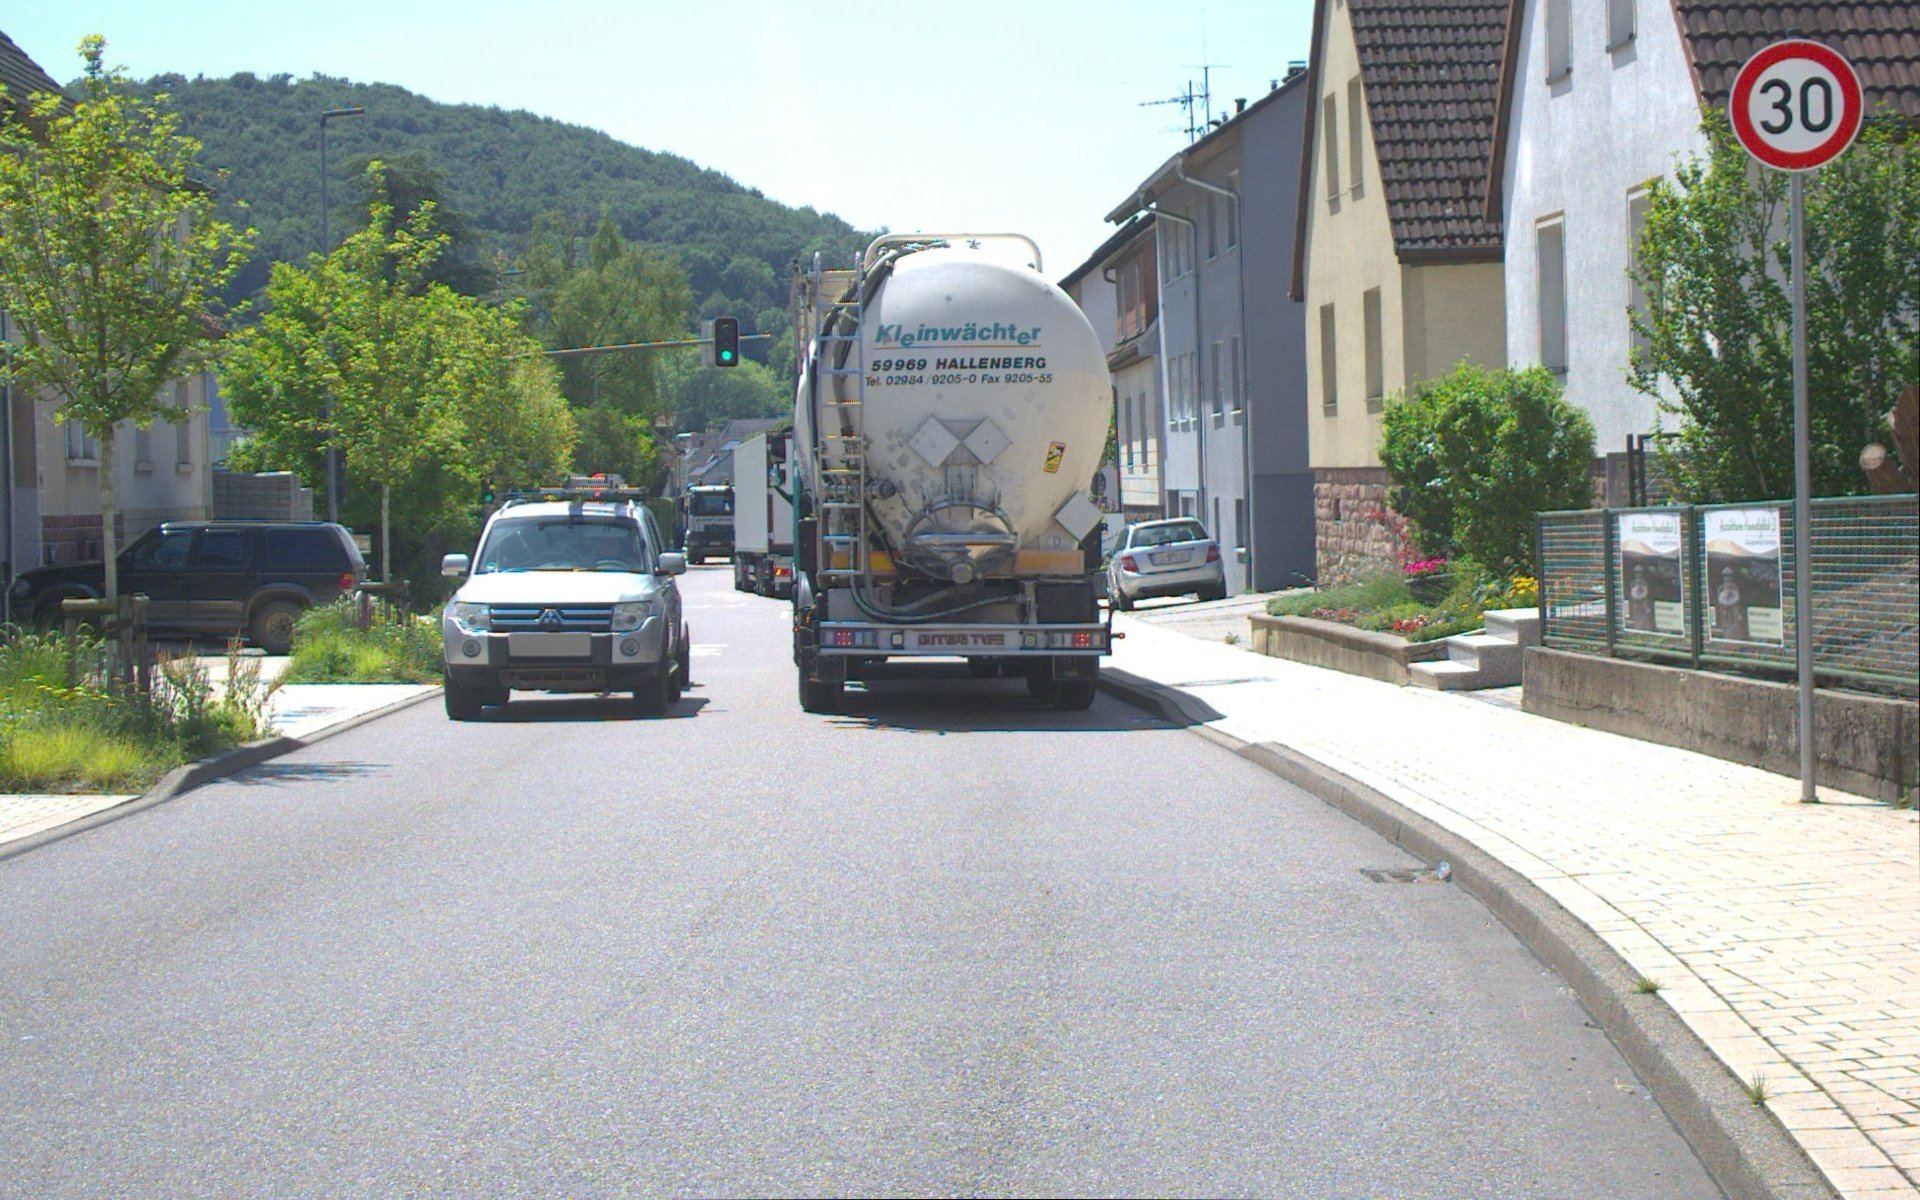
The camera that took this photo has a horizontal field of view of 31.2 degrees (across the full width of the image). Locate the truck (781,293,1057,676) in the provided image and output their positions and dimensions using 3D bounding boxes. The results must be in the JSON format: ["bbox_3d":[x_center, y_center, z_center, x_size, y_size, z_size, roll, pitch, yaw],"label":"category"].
[{"bbox_3d":[-0.580,-1.238,38.358,2.808,3.923,6.100,0,1,-3],"label":"truck"}]

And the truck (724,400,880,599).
[{"bbox_3d":[-4.143,-2.391,87.442,2.846,4.663,11.341,1,0,-8],"label":"truck"}]

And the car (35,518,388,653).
[{"bbox_3d":[-10.057,-0.206,46.449,4.394,1.744,1.878,-1,1,-3],"label":"car"}]

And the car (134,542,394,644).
[{"bbox_3d":[-10.257,-0.106,50.605,3.546,1.434,1.696,0,1,32],"label":"car"}]

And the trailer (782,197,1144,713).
[{"bbox_3d":[-0.228,-1.220,31.809,2.796,3.987,10.325,0,1,-3],"label":"trailer"}]

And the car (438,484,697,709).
[{"bbox_3d":[-3.402,-0.060,30.598,1.889,1.854,4.578,0,1,-1],"label":"car"}]

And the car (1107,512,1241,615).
[{"bbox_3d":[3.529,-0.622,57.297,1.791,1.536,4.520,-4,1,-1],"label":"car"}]

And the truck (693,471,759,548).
[{"bbox_3d":[-10.433,-4.016,153.663,2.728,3.360,8.635,0,1,-3],"label":"truck"}]

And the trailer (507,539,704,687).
[{"bbox_3d":[-3.546,0.089,35.016,1.574,1.391,4.403,-1,1,-1],"label":"trailer"}]
